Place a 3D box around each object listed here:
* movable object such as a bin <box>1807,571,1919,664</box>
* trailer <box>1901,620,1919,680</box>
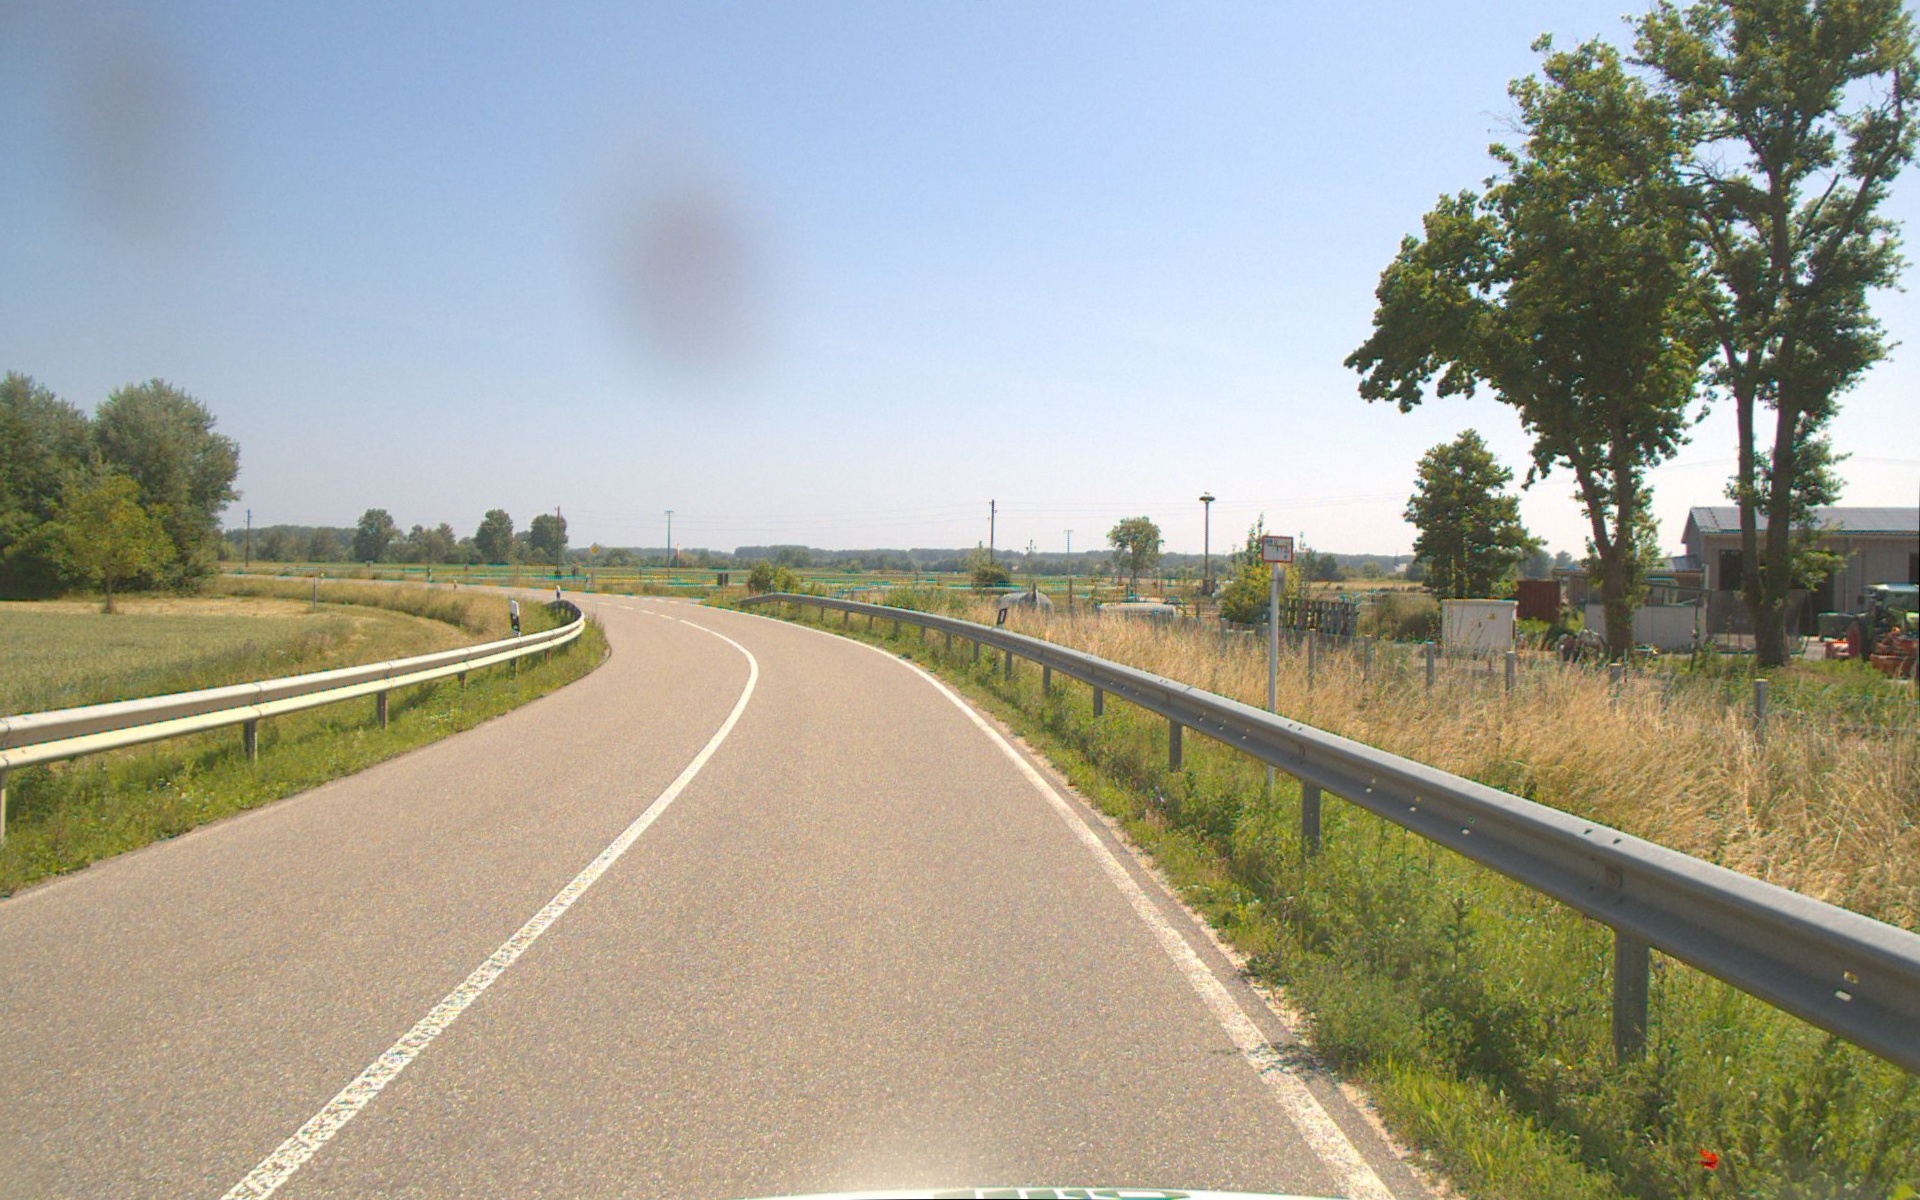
[{"bbox_3d":[30.599,0.532,54.408,2.938,2.818,6.511,2,1,9],"label":"movable object such as a bin"},{"bbox_3d":[25.894,1.351,43.707,1.678,1.522,3.136,2,-1,29],"label":"trailer"}]
